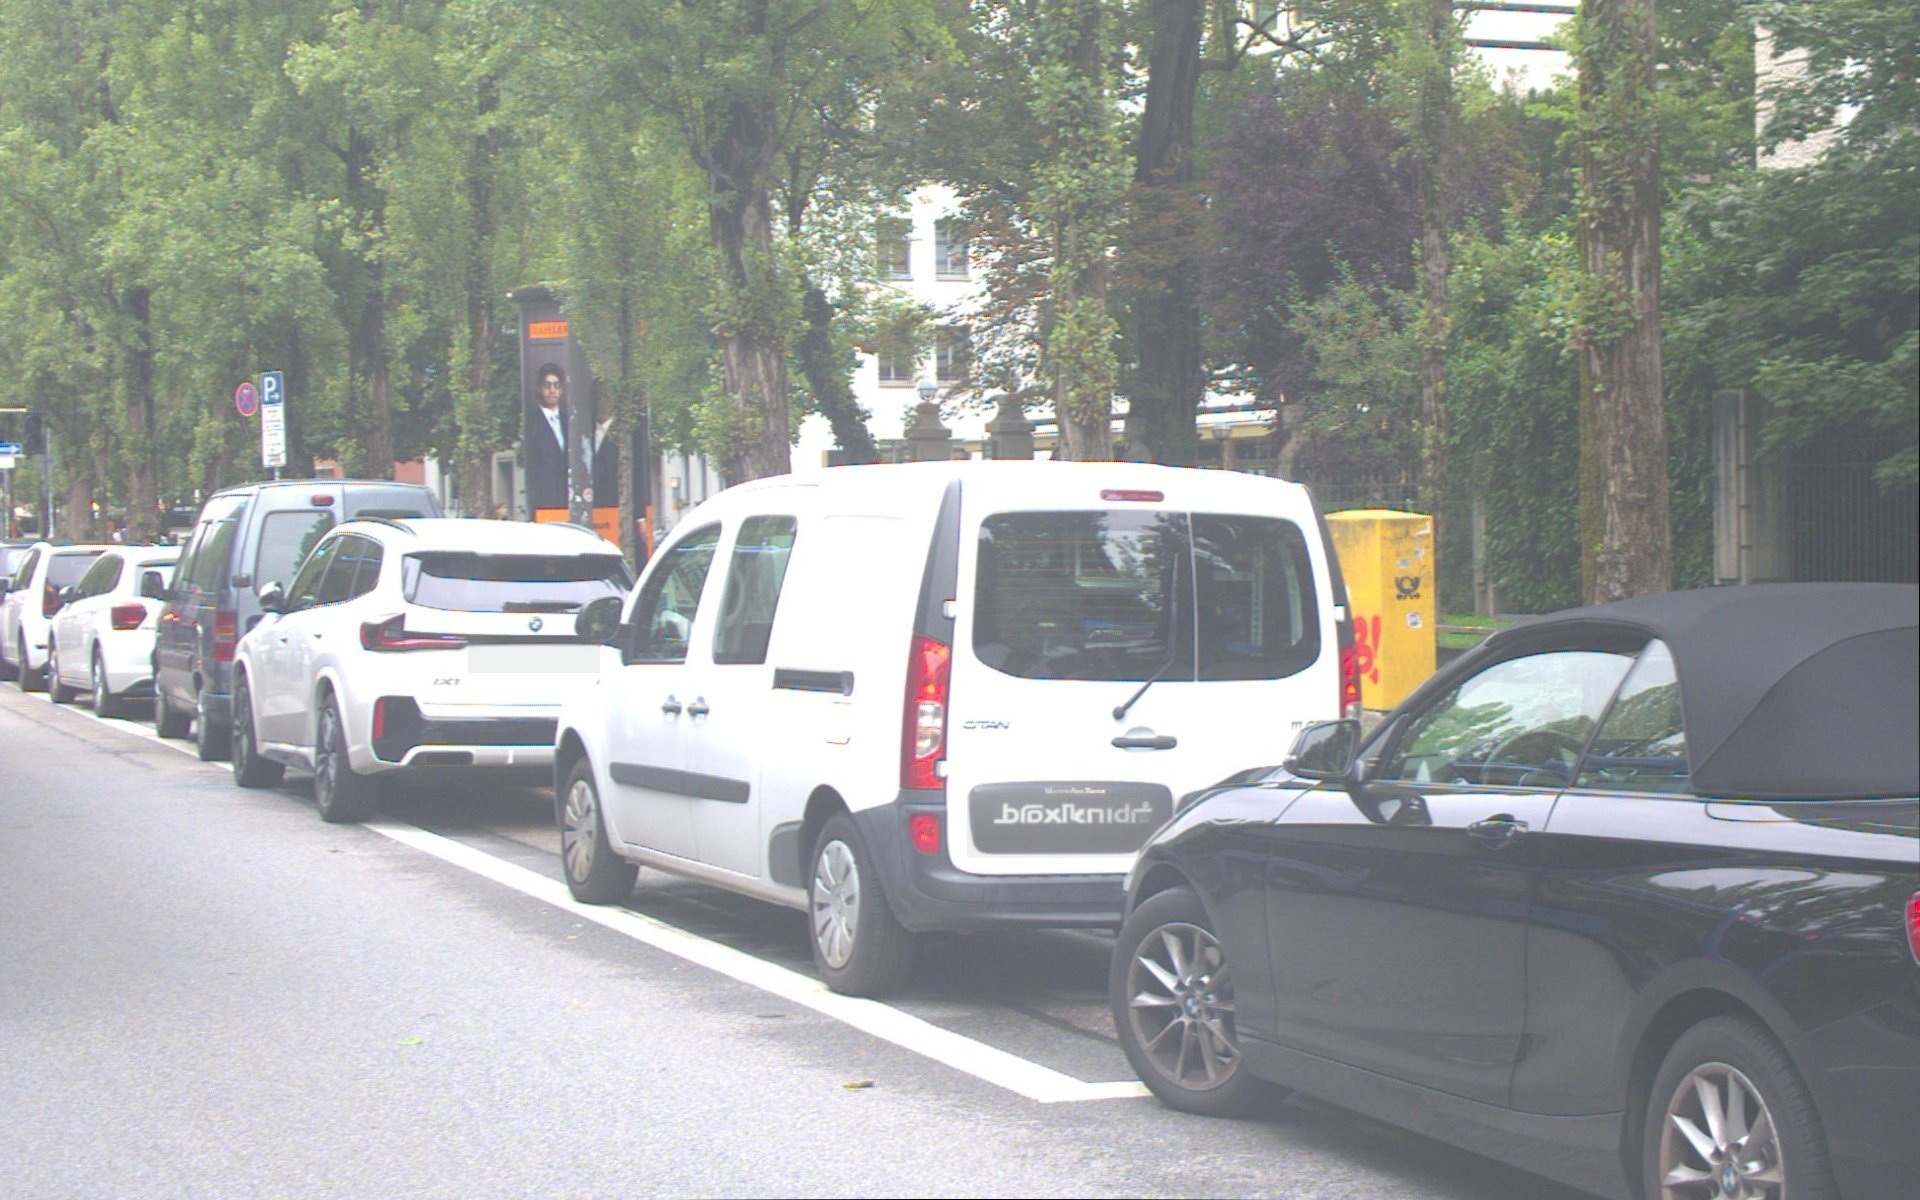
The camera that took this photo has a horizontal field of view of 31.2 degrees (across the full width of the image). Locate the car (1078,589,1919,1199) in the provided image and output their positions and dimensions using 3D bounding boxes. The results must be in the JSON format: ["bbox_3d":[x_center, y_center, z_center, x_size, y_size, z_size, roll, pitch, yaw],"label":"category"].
[{"bbox_3d":[1.828,0.693,7.616,1.746,1.349,4.001,0,1,-20],"label":"car"}]

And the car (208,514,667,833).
[{"bbox_3d":[-3.057,0.333,19.405,1.677,1.590,4.088,1,1,-21],"label":"car"}]

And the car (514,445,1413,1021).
[{"bbox_3d":[-0.197,0.385,12.860,1.832,1.767,4.231,1,1,-23],"label":"car"}]

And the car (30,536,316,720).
[{"bbox_3d":[-6.997,0.191,30.313,1.798,1.470,4.001,-1,2,-23],"label":"car"}]

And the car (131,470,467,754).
[{"bbox_3d":[-4.750,0.038,24.301,1.703,1.829,4.001,1,1,-20],"label":"car"}]

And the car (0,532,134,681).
[{"bbox_3d":[-10.832,0.031,39.882,1.808,1.612,4.001,-1,2,-23],"label":"car"}]

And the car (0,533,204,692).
[{"bbox_3d":[-8.976,0.075,35.062,1.785,1.486,4.001,-1,2,-22],"label":"car"}]
